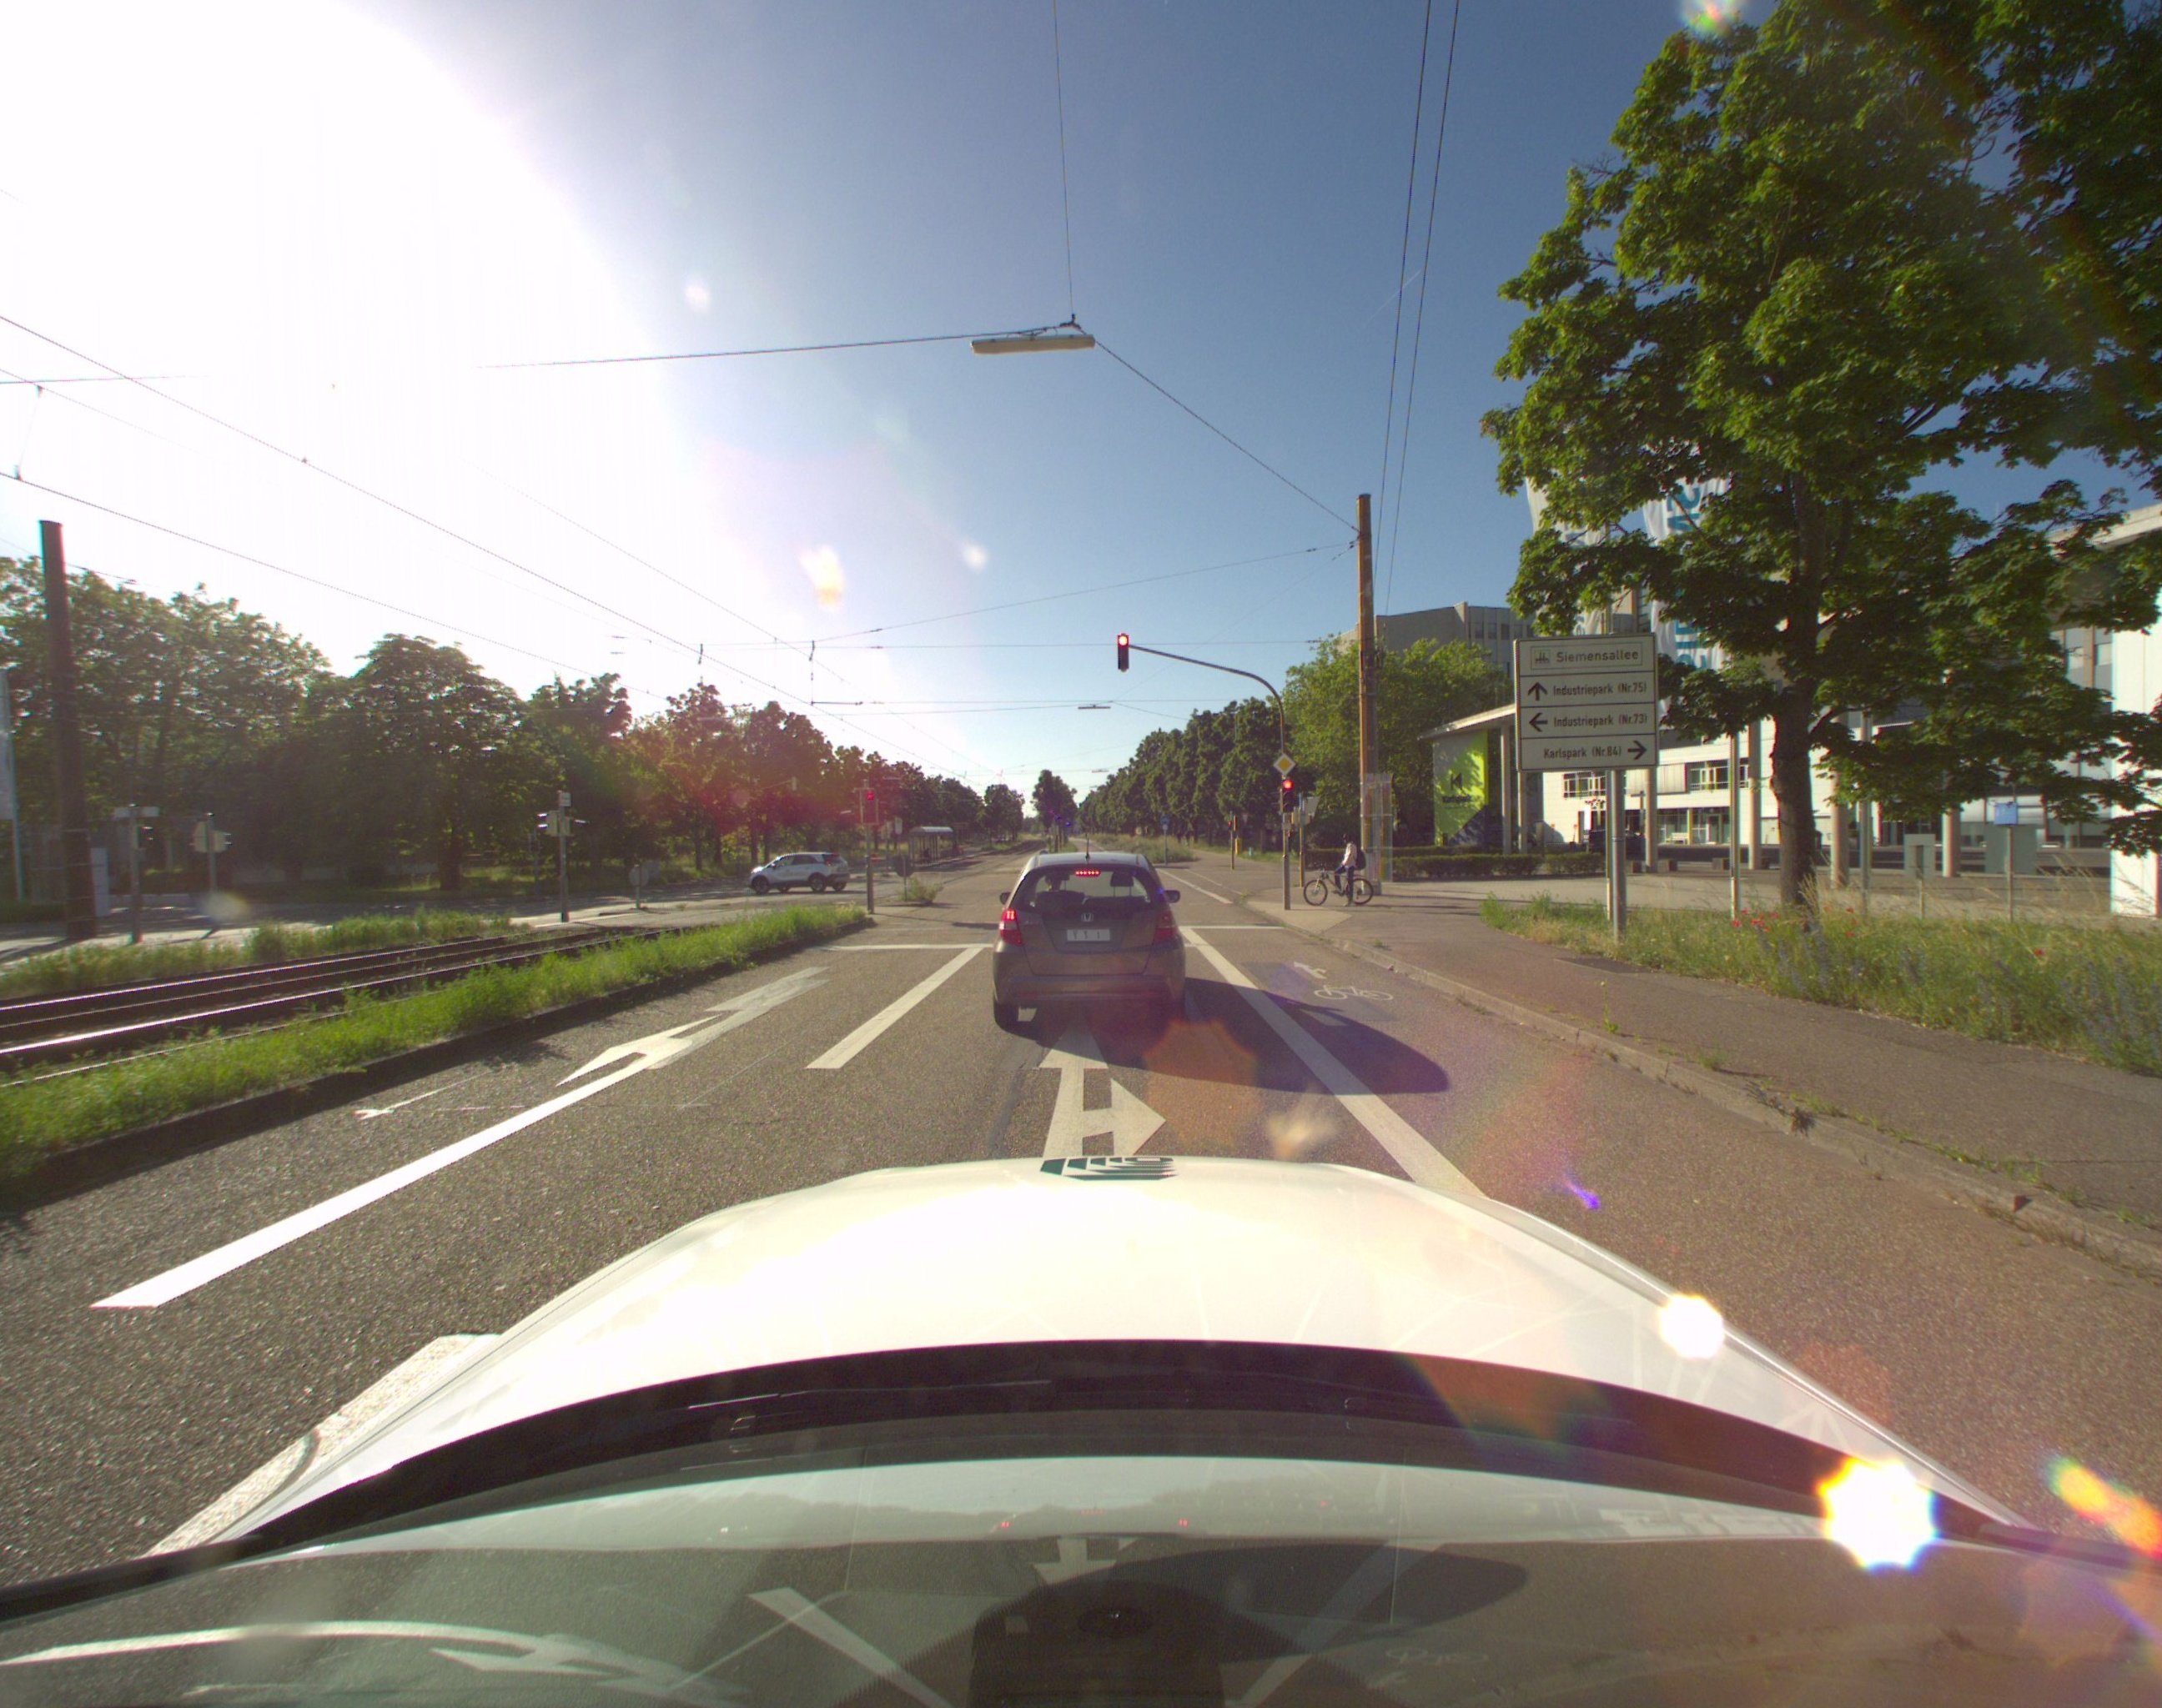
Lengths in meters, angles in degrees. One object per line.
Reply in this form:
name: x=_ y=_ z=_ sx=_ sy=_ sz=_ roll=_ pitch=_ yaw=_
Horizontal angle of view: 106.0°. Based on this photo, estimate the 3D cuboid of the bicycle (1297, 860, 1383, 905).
bicycle: x=6.405 y=0.700 z=20.225 sx=1.907 sy=0.998 sz=0.767 roll=-3 pitch=0 yaw=12

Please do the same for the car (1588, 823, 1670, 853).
car: x=33.786 y=-0.980 z=50.239 sx=3.984 sy=1.720 sz=1.895 roll=-1 pitch=1 yaw=-8

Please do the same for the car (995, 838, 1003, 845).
car: x=-20.685 y=-3.240 z=205.506 sx=1.761 sy=1.738 sz=3.999 roll=-1 pitch=0 yaw=0

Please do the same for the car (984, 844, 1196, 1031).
car: x=0.161 y=0.667 z=8.606 sx=1.700 sy=1.508 sz=4.003 roll=-1 pitch=0 yaw=2

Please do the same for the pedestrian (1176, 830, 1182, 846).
pedestrian: x=10.046 y=-1.650 z=83.525 sx=0.565 sy=1.596 sz=0.665 roll=0 pitch=0 yaw=-2

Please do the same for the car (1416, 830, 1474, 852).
car: x=30.163 y=-1.070 z=67.576 sx=3.989 sy=1.757 sz=1.993 roll=-1 pitch=0 yaw=-11

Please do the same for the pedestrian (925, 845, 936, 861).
pedestrian: x=-12.398 y=-0.084 z=66.941 sx=0.718 sy=1.246 sz=0.710 roll=-2 pitch=0 yaw=0

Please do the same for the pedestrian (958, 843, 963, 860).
pedestrian: x=-12.062 y=-0.270 z=81.571 sx=0.502 sy=1.675 sz=0.386 roll=-1 pitch=0 yaw=-10

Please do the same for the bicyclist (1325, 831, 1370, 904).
bicyclist: x=6.594 y=0.321 z=20.181 sx=0.904 sy=1.745 sz=0.767 roll=-3 pitch=0 yaw=12

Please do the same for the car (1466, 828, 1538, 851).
car: x=31.269 y=-1.071 z=60.498 sx=4.538 sy=1.629 sz=1.869 roll=-1 pitch=0 yaw=-11

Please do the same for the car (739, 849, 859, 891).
car: x=-11.452 y=0.645 z=33.154 sx=4.210 sy=1.606 sz=1.864 roll=-1 pitch=0 yaw=14

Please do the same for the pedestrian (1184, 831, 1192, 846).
pedestrian: x=10.997 y=-1.579 z=83.530 sx=0.676 sy=1.610 sz=0.720 roll=0 pitch=0 yaw=-1

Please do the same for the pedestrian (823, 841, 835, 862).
pedestrian: x=-24.475 y=-0.209 z=79.190 sx=0.837 sy=2.013 sz=0.863 roll=-1 pitch=0 yaw=0
